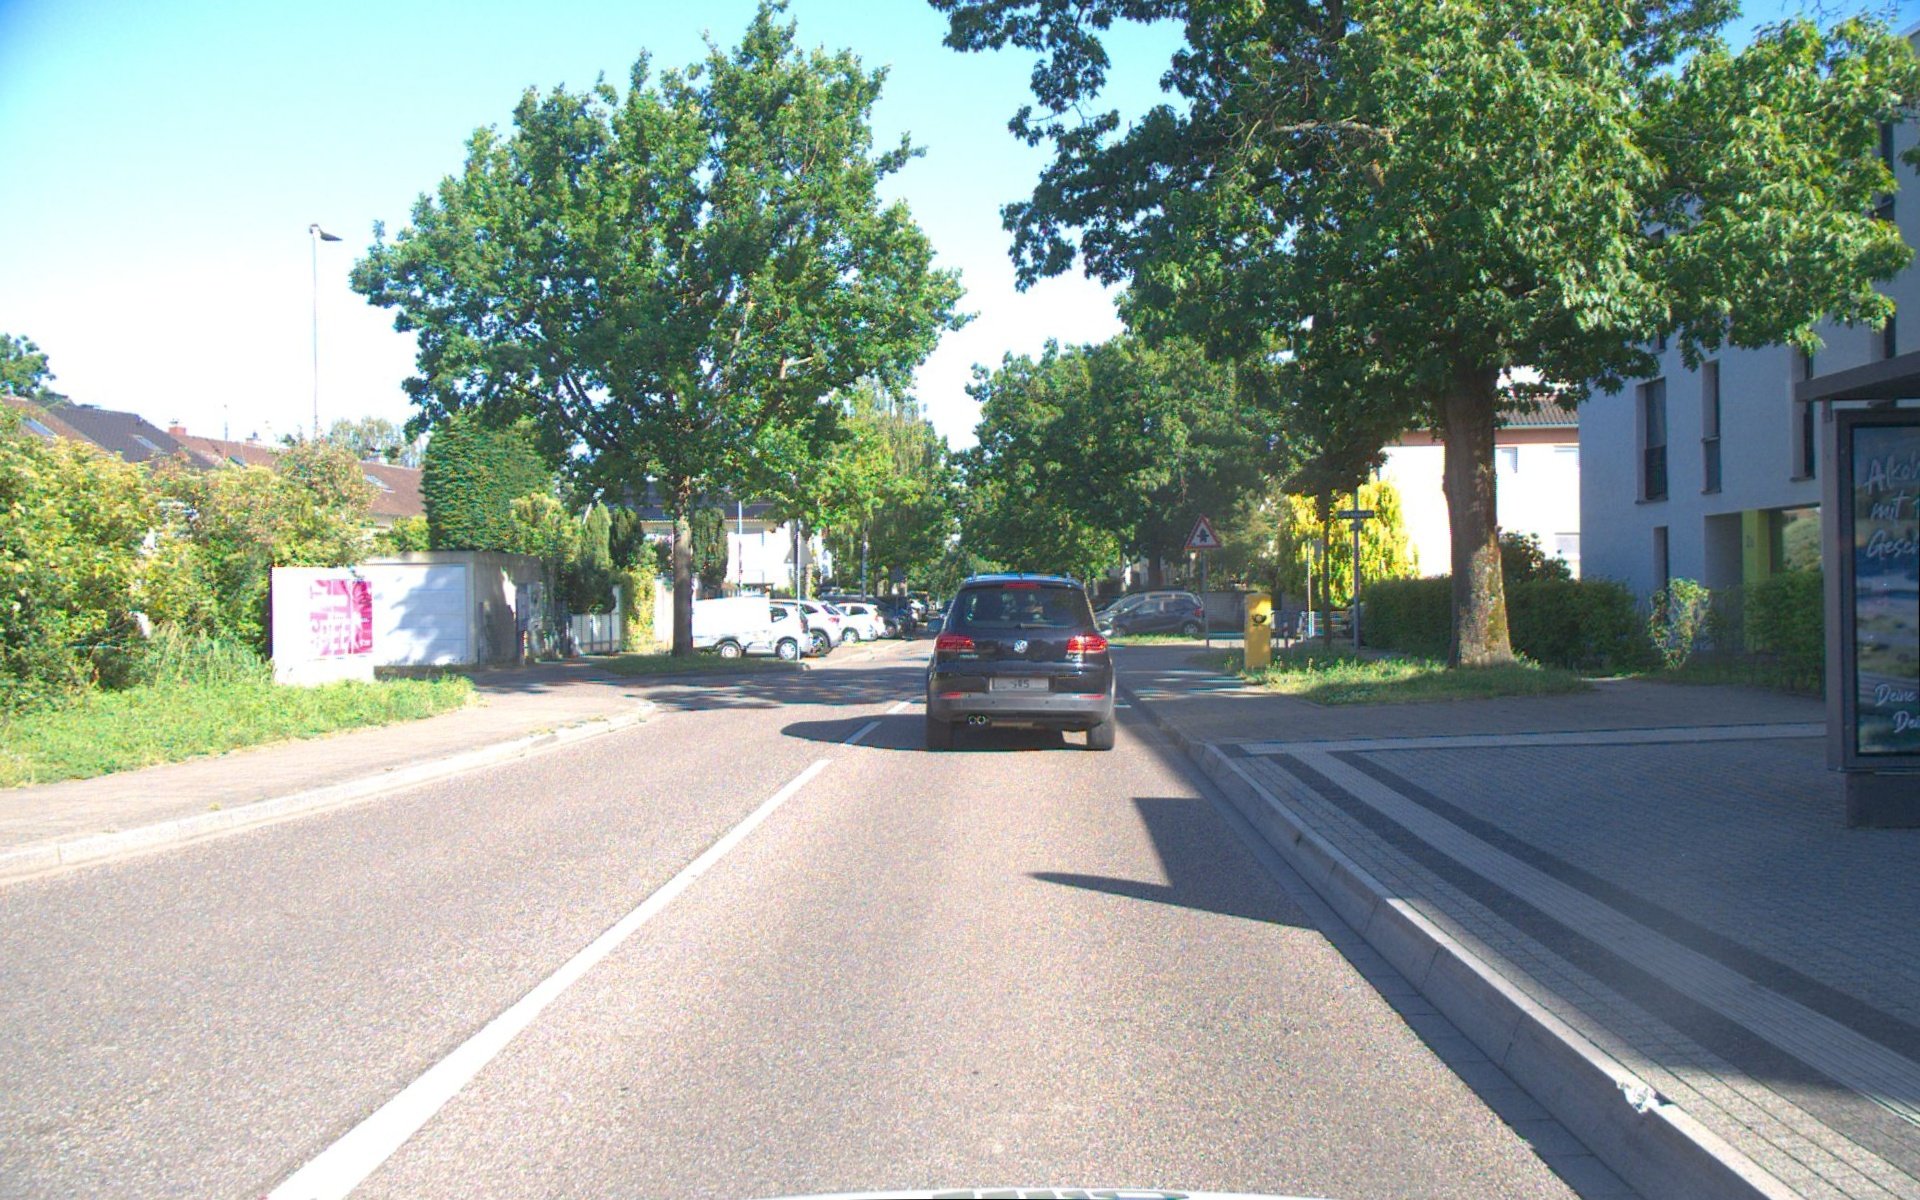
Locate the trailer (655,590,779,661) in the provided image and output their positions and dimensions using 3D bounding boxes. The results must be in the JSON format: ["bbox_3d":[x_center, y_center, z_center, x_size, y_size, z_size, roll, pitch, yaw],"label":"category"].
[{"bbox_3d":[-6.032,0.621,41.289,2.907,1.685,1.396,-1,0,-3],"label":"trailer"}]

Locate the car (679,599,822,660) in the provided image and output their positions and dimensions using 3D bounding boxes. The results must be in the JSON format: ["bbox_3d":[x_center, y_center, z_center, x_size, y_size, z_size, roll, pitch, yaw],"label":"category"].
[{"bbox_3d":[-5.494,0.765,43.639,3.475,1.503,1.808,-1,0,1],"label":"car"}]

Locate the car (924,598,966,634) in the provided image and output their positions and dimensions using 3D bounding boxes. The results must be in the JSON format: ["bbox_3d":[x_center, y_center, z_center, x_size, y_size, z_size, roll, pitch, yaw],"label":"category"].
[{"bbox_3d":[-0.705,0.747,79.817,1.870,1.582,4.000,-3,0,0],"label":"car"}]

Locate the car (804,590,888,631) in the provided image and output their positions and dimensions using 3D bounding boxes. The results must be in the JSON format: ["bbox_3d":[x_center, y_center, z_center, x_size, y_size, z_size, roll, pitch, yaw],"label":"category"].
[{"bbox_3d":[-5.404,0.487,78.693,3.907,1.868,1.637,-1,0,-3],"label":"car"}]

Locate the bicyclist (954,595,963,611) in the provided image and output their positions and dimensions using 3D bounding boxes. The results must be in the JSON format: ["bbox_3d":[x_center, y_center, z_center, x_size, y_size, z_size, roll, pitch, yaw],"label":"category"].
[{"bbox_3d":[-0.136,0.231,145.937,0.686,1.370,0.506,-1,-2,-3],"label":"bicyclist"}]

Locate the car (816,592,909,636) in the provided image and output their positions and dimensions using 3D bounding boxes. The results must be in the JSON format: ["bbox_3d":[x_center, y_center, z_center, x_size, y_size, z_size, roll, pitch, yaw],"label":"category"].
[{"bbox_3d":[-4.164,0.589,71.204,3.907,1.762,1.999,-1,0,-3],"label":"car"}]

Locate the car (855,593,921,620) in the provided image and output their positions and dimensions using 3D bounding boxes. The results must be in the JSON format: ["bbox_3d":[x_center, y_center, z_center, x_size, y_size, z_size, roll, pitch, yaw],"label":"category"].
[{"bbox_3d":[-4.468,0.419,102.470,3.904,1.525,2.000,-1,-2,2],"label":"car"}]

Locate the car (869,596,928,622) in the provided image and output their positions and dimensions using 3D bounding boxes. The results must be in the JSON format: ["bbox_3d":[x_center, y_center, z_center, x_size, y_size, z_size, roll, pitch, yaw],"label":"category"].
[{"bbox_3d":[-4.228,0.598,113.776,3.911,1.713,1.920,-1,0,-7],"label":"car"}]

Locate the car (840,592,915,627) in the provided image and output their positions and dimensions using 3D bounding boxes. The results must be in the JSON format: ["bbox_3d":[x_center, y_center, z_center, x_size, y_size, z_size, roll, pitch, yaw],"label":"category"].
[{"bbox_3d":[-4.384,0.508,88.311,3.905,1.750,1.821,-1,-2,1],"label":"car"}]

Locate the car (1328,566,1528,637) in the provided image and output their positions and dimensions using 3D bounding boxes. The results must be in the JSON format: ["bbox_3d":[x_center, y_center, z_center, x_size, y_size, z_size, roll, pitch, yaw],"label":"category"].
[{"bbox_3d":[13.442,0.059,47.669,5.134,1.880,2.071,-1,-2,-2],"label":"car"}]

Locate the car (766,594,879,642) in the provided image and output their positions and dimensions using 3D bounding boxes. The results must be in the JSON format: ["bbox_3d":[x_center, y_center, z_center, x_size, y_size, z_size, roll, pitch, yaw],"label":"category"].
[{"bbox_3d":[-5.040,0.651,61.119,3.904,1.699,2.001,-1,0,2],"label":"car"}]

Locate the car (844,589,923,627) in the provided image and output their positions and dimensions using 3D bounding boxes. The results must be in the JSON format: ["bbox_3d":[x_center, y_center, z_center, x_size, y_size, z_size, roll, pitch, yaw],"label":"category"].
[{"bbox_3d":[-4.185,0.439,90.781,4.302,1.973,1.577,-1,-2,-3],"label":"car"}]

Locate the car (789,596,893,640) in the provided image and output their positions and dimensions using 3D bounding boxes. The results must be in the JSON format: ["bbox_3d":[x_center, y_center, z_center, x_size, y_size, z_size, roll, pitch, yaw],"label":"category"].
[{"bbox_3d":[-4.761,0.705,66.455,3.904,1.668,2.001,-1,0,3],"label":"car"}]

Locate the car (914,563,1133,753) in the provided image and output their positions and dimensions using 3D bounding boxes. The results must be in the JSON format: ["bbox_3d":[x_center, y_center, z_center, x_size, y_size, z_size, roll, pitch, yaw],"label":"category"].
[{"bbox_3d":[0.512,0.517,17.098,1.891,1.683,4.512,1,0,-3],"label":"car"}]

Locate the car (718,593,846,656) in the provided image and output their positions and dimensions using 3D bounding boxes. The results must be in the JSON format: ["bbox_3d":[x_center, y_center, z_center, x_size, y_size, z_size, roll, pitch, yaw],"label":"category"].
[{"bbox_3d":[-4.943,0.672,46.306,3.479,1.641,1.851,-1,0,-5],"label":"car"}]

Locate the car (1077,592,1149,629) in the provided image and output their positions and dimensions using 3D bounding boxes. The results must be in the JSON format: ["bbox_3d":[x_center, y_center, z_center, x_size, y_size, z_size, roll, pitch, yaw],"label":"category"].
[{"bbox_3d":[6.773,0.453,73.242,2.984,1.534,1.245,-1,0,-5],"label":"car"}]

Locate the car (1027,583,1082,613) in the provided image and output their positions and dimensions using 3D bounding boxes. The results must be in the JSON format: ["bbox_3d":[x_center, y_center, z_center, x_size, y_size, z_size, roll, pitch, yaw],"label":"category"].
[{"bbox_3d":[6.910,-0.155,121.326,3.904,2.049,2.000,-1,-2,2],"label":"car"}]

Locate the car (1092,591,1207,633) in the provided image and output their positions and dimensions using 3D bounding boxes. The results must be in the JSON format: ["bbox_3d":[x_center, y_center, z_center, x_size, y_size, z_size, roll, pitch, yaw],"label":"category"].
[{"bbox_3d":[6.702,0.406,58.887,3.904,1.392,1.847,-1,0,1],"label":"car"}]

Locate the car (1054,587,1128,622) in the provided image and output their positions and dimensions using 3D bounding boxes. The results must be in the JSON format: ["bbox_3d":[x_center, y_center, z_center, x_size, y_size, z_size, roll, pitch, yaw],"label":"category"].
[{"bbox_3d":[7.102,0.224,89.829,3.904,1.806,1.790,-1,0,2],"label":"car"}]

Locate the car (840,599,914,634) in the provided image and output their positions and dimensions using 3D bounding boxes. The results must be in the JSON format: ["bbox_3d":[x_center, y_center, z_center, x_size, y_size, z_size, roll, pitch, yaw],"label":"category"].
[{"bbox_3d":[-3.801,0.758,75.790,3.303,1.516,1.643,-1,0,-3],"label":"car"}]

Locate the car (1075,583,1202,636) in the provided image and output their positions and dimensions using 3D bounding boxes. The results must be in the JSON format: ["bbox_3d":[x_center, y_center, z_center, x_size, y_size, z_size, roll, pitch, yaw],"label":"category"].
[{"bbox_3d":[6.596,0.362,61.388,4.537,1.841,1.824,-1,0,1],"label":"car"}]
